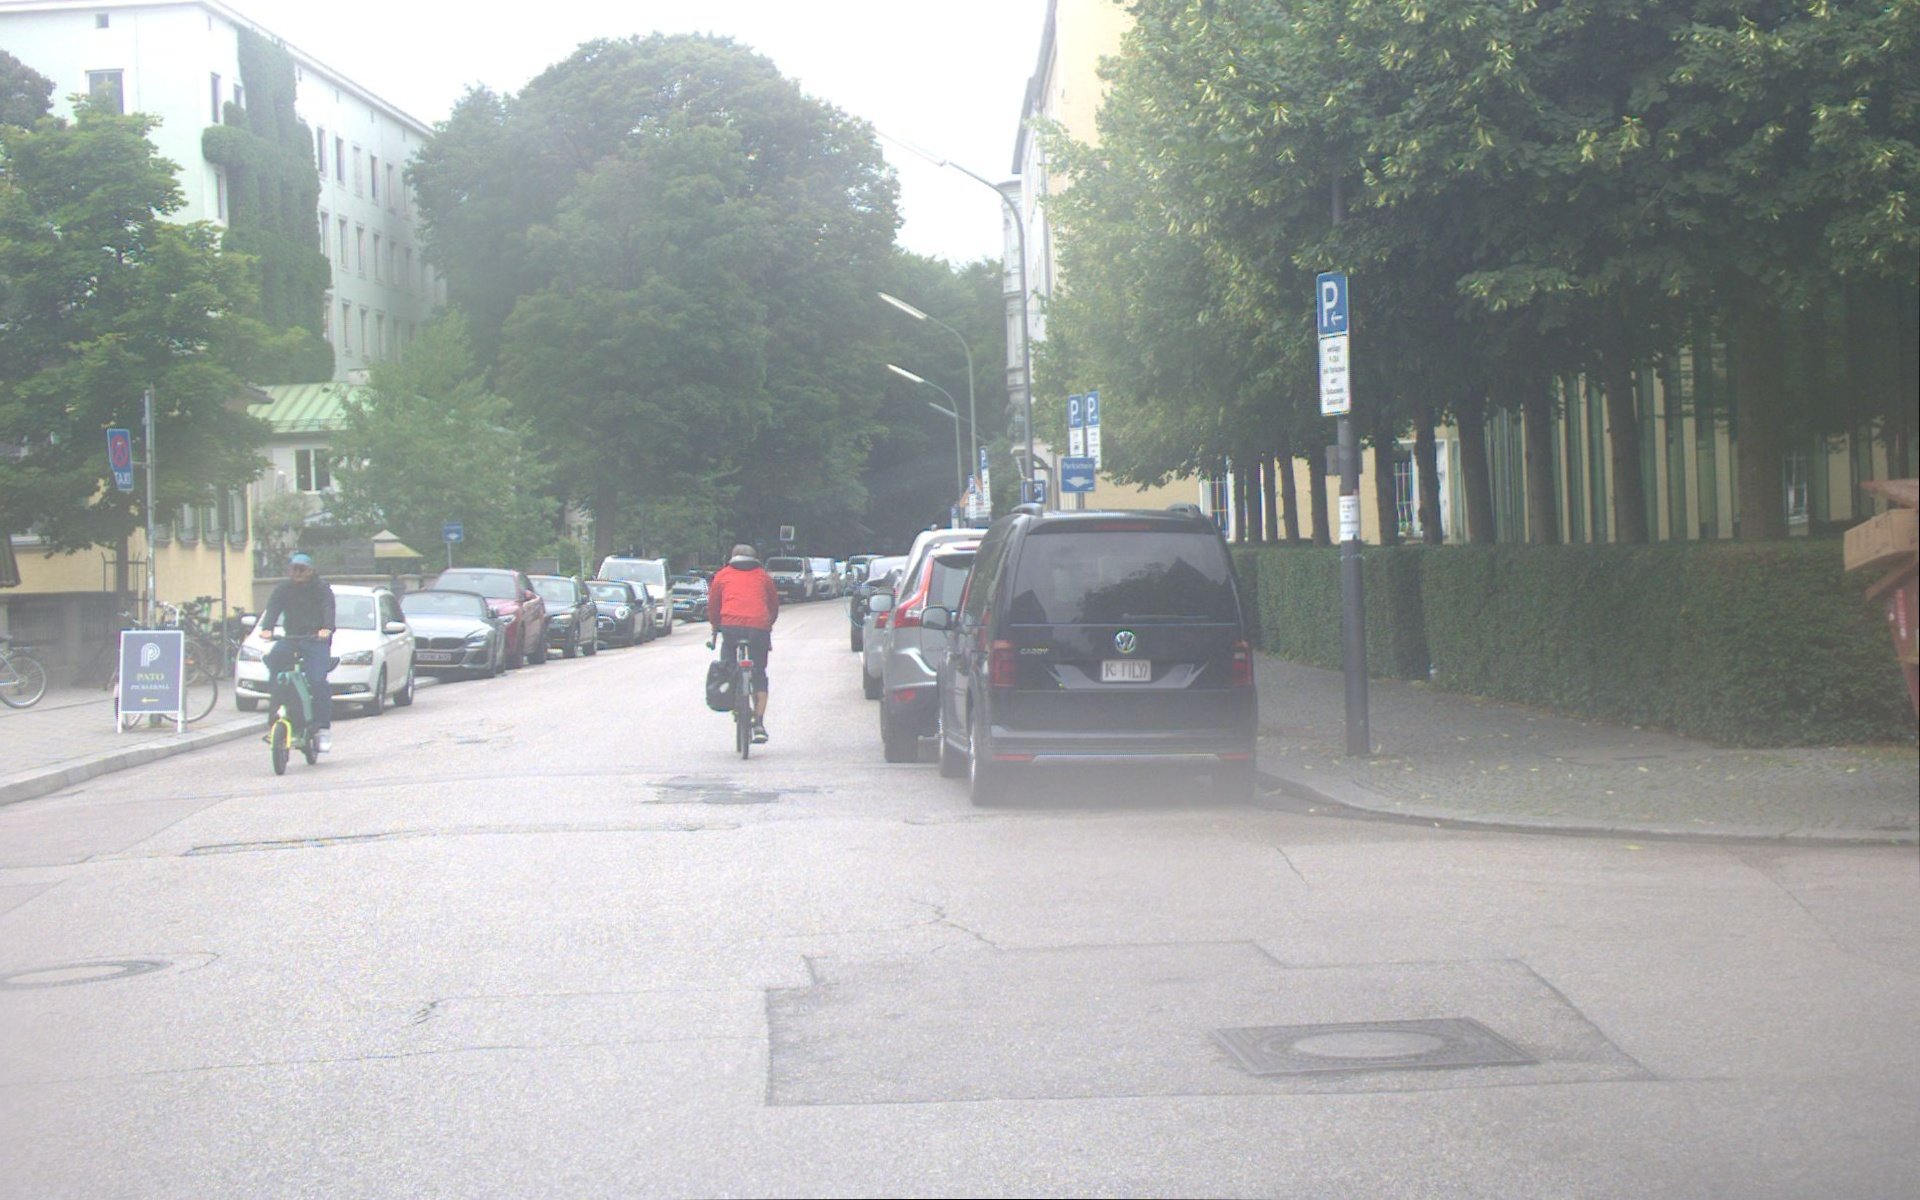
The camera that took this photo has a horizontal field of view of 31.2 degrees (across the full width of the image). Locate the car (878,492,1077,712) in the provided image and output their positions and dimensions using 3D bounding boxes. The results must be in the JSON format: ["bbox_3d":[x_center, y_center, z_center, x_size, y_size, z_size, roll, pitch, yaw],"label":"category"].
[{"bbox_3d":[0.116,-0.021,33.344,1.749,1.936,4.228,-2,1,-1],"label":"car"}]

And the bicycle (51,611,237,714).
[{"bbox_3d":[-8.549,0.642,36.092,0.622,1.001,2.137,2,1,29],"label":"bicycle"}]

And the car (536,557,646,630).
[{"bbox_3d":[-8.146,-0.173,76.271,1.993,1.481,4.000,-2,1,0],"label":"car"}]

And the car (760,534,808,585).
[{"bbox_3d":[-7.439,-1.729,145.556,1.993,2.091,4.001,1,1,-3],"label":"car"}]

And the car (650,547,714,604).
[{"bbox_3d":[-8.680,-0.778,107.663,1.810,1.677,4.001,-2,1,-2],"label":"car"}]

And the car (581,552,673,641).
[{"bbox_3d":[-8.196,-0.111,84.877,1.993,2.072,4.001,-2,1,-2],"label":"car"}]

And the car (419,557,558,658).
[{"bbox_3d":[-7.966,0.124,58.371,1.993,1.597,4.000,-1,0,-3],"label":"car"}]

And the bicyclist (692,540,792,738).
[{"bbox_3d":[-1.694,0.302,26.833,0.671,1.492,1.095,-2,-1,-1],"label":"bicyclist"}]

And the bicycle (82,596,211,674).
[{"bbox_3d":[-11.416,0.488,48.267,1.614,1.001,0.623,-3,0,-40],"label":"bicycle"}]

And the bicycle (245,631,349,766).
[{"bbox_3d":[-5.490,0.798,28.536,0.621,1.001,2.140,-2,1,-6],"label":"bicycle"}]

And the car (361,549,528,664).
[{"bbox_3d":[-7.932,0.066,53.286,1.993,1.643,4.656,-2,1,-2],"label":"car"}]

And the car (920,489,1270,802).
[{"bbox_3d":[0.775,0.230,22.332,1.760,1.817,4.140,-1,1,-5],"label":"car"}]

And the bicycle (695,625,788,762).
[{"bbox_3d":[-1.689,0.705,26.791,0.621,1.001,2.140,-2,0,-2],"label":"bicycle"}]

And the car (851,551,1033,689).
[{"bbox_3d":[-0.258,0.188,38.869,1.863,1.435,4.256,-1,1,-2],"label":"car"}]

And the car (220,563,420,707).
[{"bbox_3d":[-7.521,0.379,40.692,1.733,1.576,3.788,1,1,-2],"label":"car"}]

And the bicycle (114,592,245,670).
[{"bbox_3d":[-10.701,0.420,47.150,1.613,1.001,0.623,-2,-1,-31],"label":"bicycle"}]

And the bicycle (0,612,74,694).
[{"bbox_3d":[-11.259,0.634,40.195,1.613,0.922,0.651,-2,-1,-29],"label":"bicycle"}]

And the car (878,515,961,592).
[{"bbox_3d":[-1.147,-1.310,96.175,1.993,2.053,4.624,-1,1,-4],"label":"car"}]

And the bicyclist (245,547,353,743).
[{"bbox_3d":[-5.488,0.359,28.586,0.743,1.570,0.977,-2,1,-6],"label":"bicyclist"}]

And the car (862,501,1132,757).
[{"bbox_3d":[0.207,0.165,27.129,1.863,1.787,4.510,-2,1,-2],"label":"car"}]

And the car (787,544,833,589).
[{"bbox_3d":[-6.860,-1.517,157.483,1.993,2.007,4.000,1,0,-1],"label":"car"}]

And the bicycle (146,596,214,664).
[{"bbox_3d":[-11.819,0.453,52.130,0.621,1.001,1.619,-1,0,1],"label":"bicycle"}]
